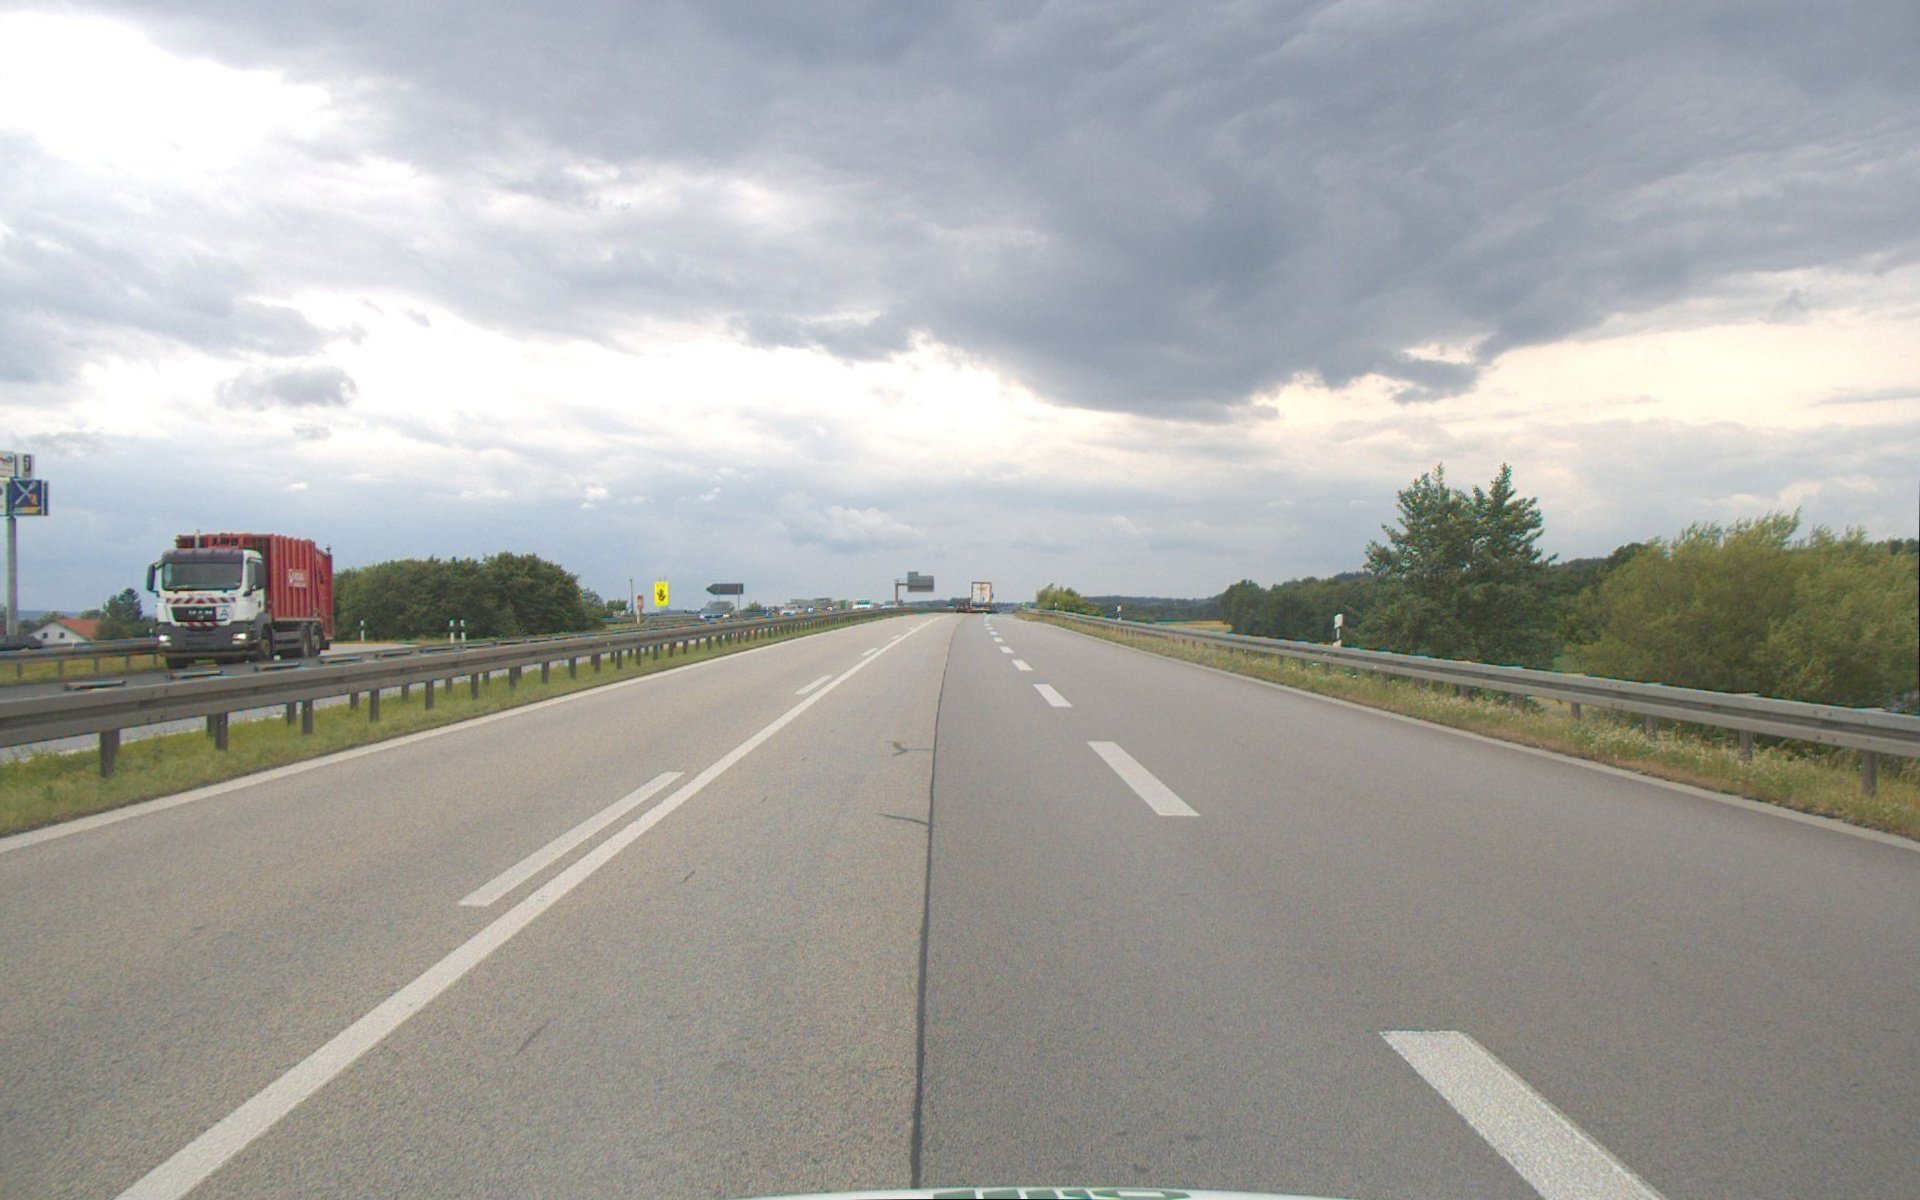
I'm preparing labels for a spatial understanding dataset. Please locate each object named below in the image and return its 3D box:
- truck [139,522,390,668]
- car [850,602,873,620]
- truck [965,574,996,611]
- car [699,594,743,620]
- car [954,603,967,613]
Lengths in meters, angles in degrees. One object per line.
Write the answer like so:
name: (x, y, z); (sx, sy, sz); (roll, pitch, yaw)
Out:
truck: (-19.520, -0.115, 47.445); (2.614, 3.598, 11.075); (-2, 0, -1)
car: (-9.267, 1.012, 155.264); (1.815, 1.616, 4.816); (-1, 0, 0)
truck: (2.867, -0.947, 227.112); (3.595, 4.490, 16.344); (0, -2, 3)
car: (-13.631, 0.387, 94.447); (1.788, 1.369, 4.783); (-1, 0, 0)
car: (0.135, 1.277, 253.844); (1.953, 1.445, 4.000); (1, 0, 0)
